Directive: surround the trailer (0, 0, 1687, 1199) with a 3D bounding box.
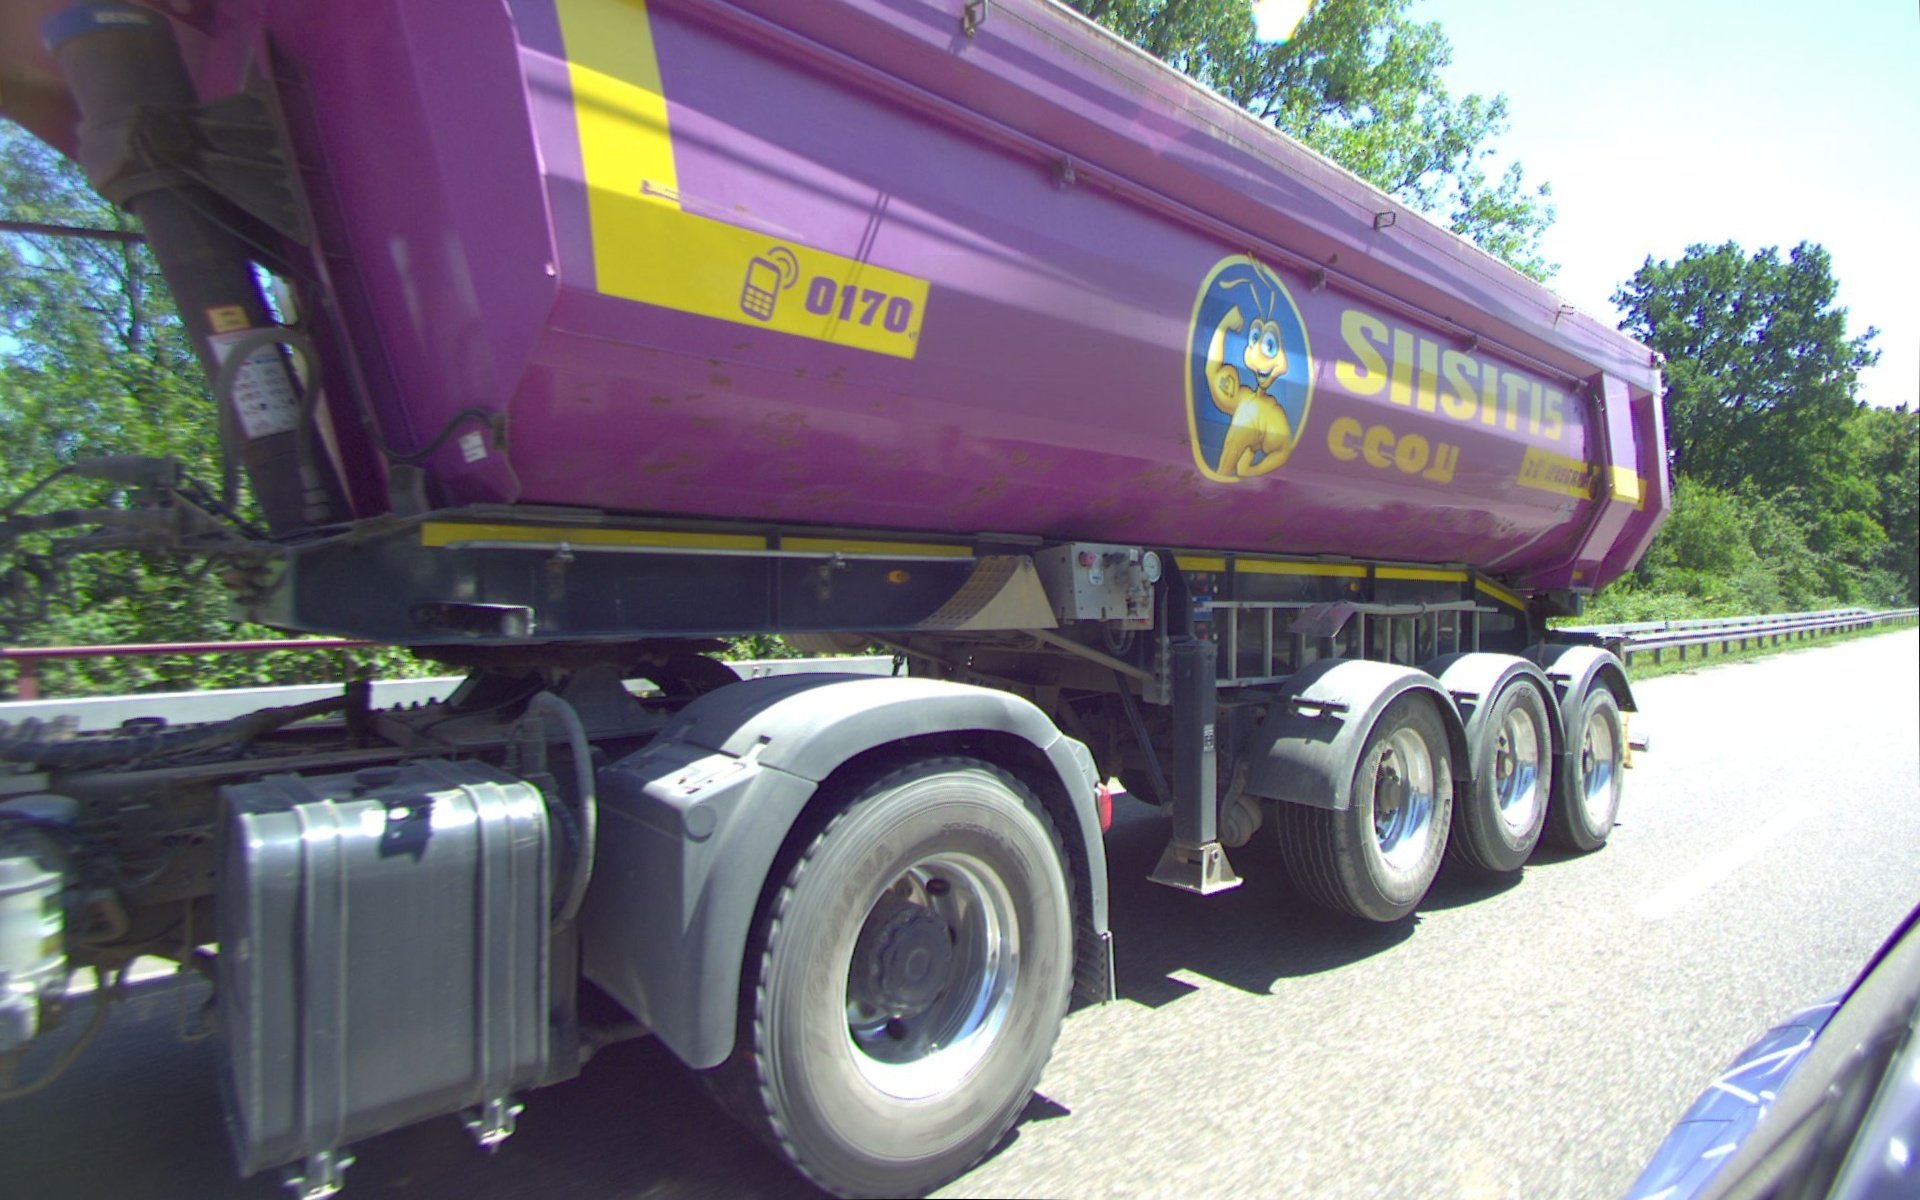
[{"bbox_3d":[0.825,-0.544,4.952,8.466,3.675,2.602,-1,0,-42],"label":"trailer"}]

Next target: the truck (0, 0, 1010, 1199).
[{"bbox_3d":[-2.931,-0.458,1.693,5.837,3.738,2.602,-1,0,-42],"label":"truck"}]
